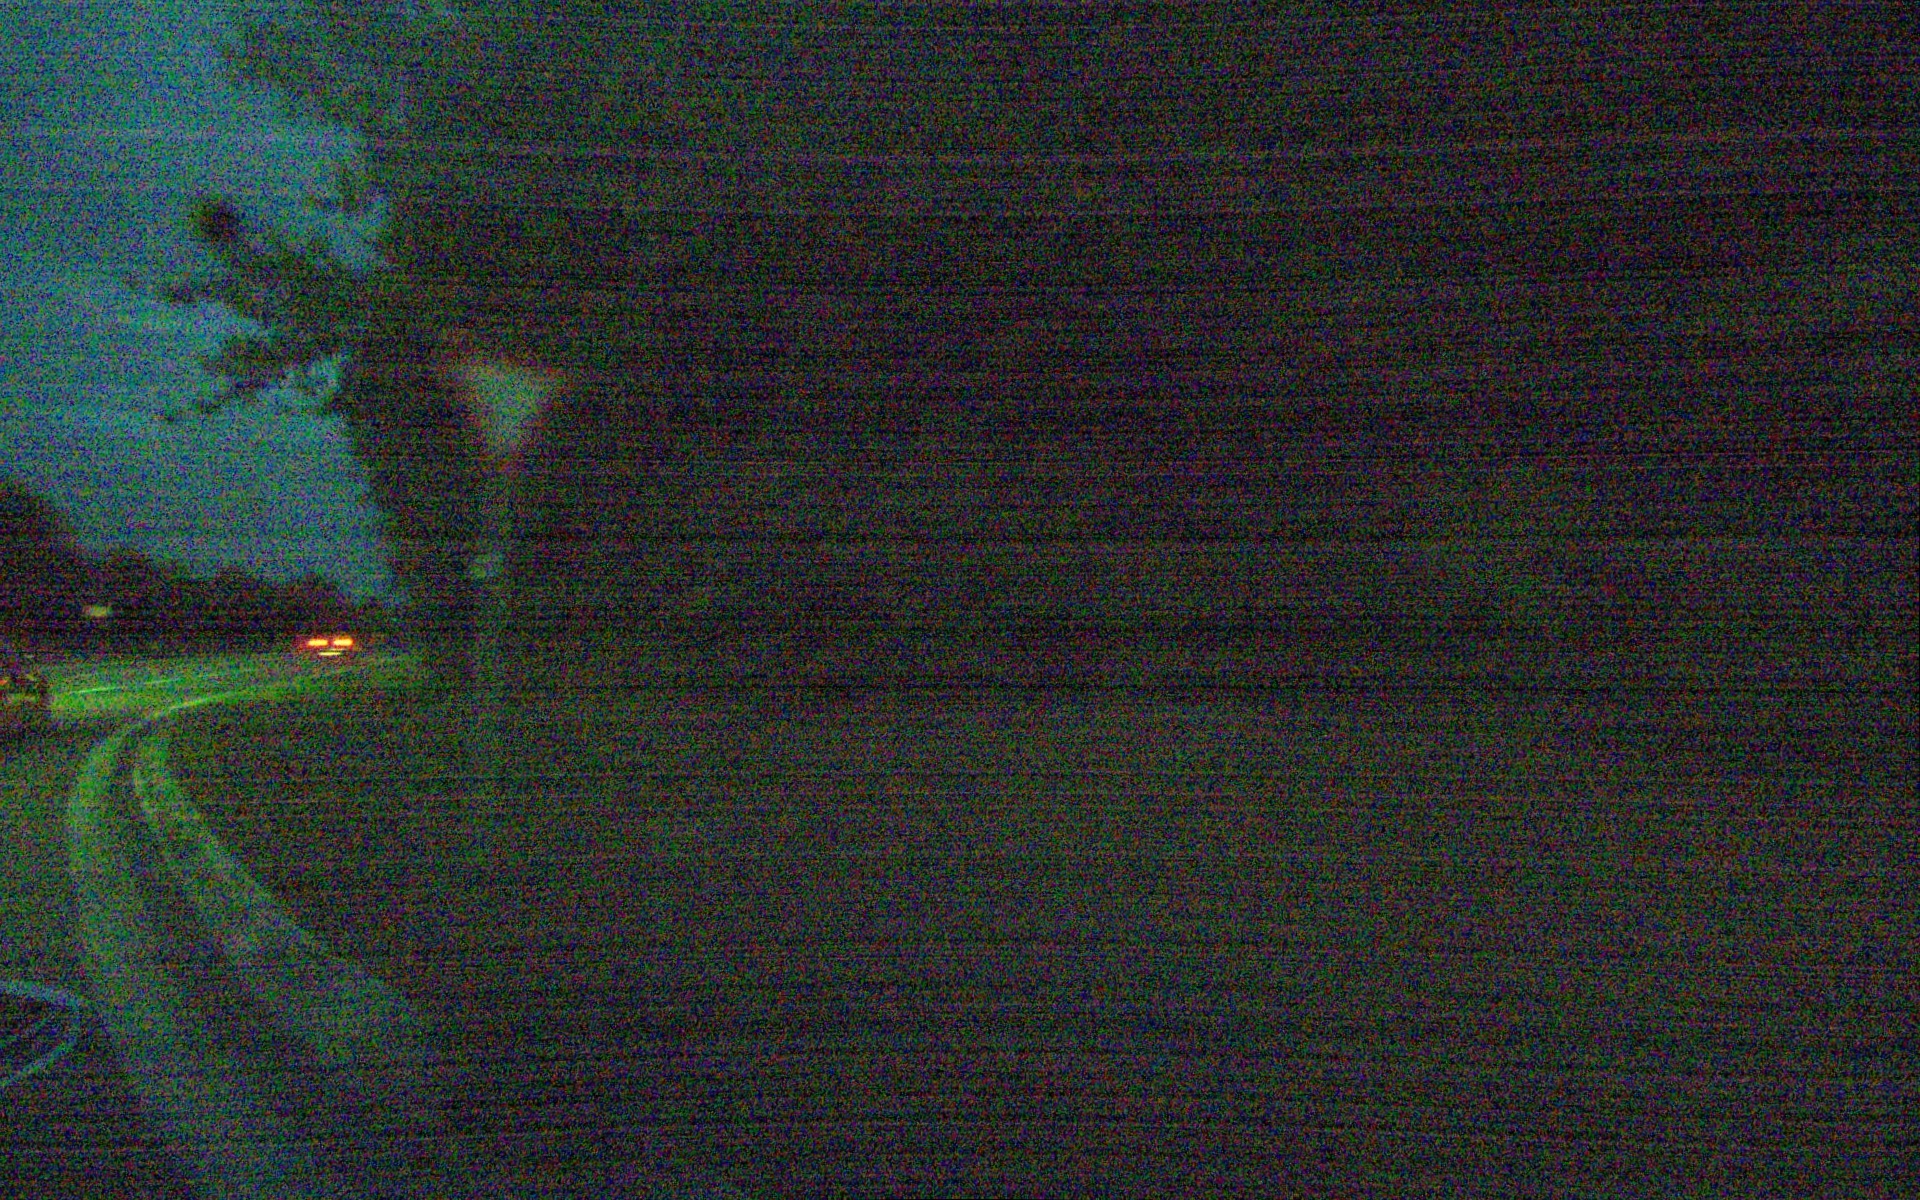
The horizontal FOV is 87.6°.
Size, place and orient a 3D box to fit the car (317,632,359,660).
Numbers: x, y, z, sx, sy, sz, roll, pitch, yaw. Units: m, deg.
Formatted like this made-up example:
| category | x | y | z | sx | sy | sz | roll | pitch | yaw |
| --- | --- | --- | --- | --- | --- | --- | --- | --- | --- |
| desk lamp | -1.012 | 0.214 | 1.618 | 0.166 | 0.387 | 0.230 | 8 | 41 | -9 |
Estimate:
| category | x | y | z | sx | sy | sz | roll | pitch | yaw |
| --- | --- | --- | --- | --- | --- | --- | --- | --- | --- |
| car | -34.488 | 2.531 | 55.587 | 1.733 | 1.471 | 4.413 | 1 | -2 | -29 |

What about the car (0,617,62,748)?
| category | x | y | z | sx | sy | sz | roll | pitch | yaw |
| --- | --- | --- | --- | --- | --- | --- | --- | --- | --- |
| car | -13.692 | 1.036 | 13.366 | 1.883 | 1.640 | 4.527 | 3 | -3 | -34 |
